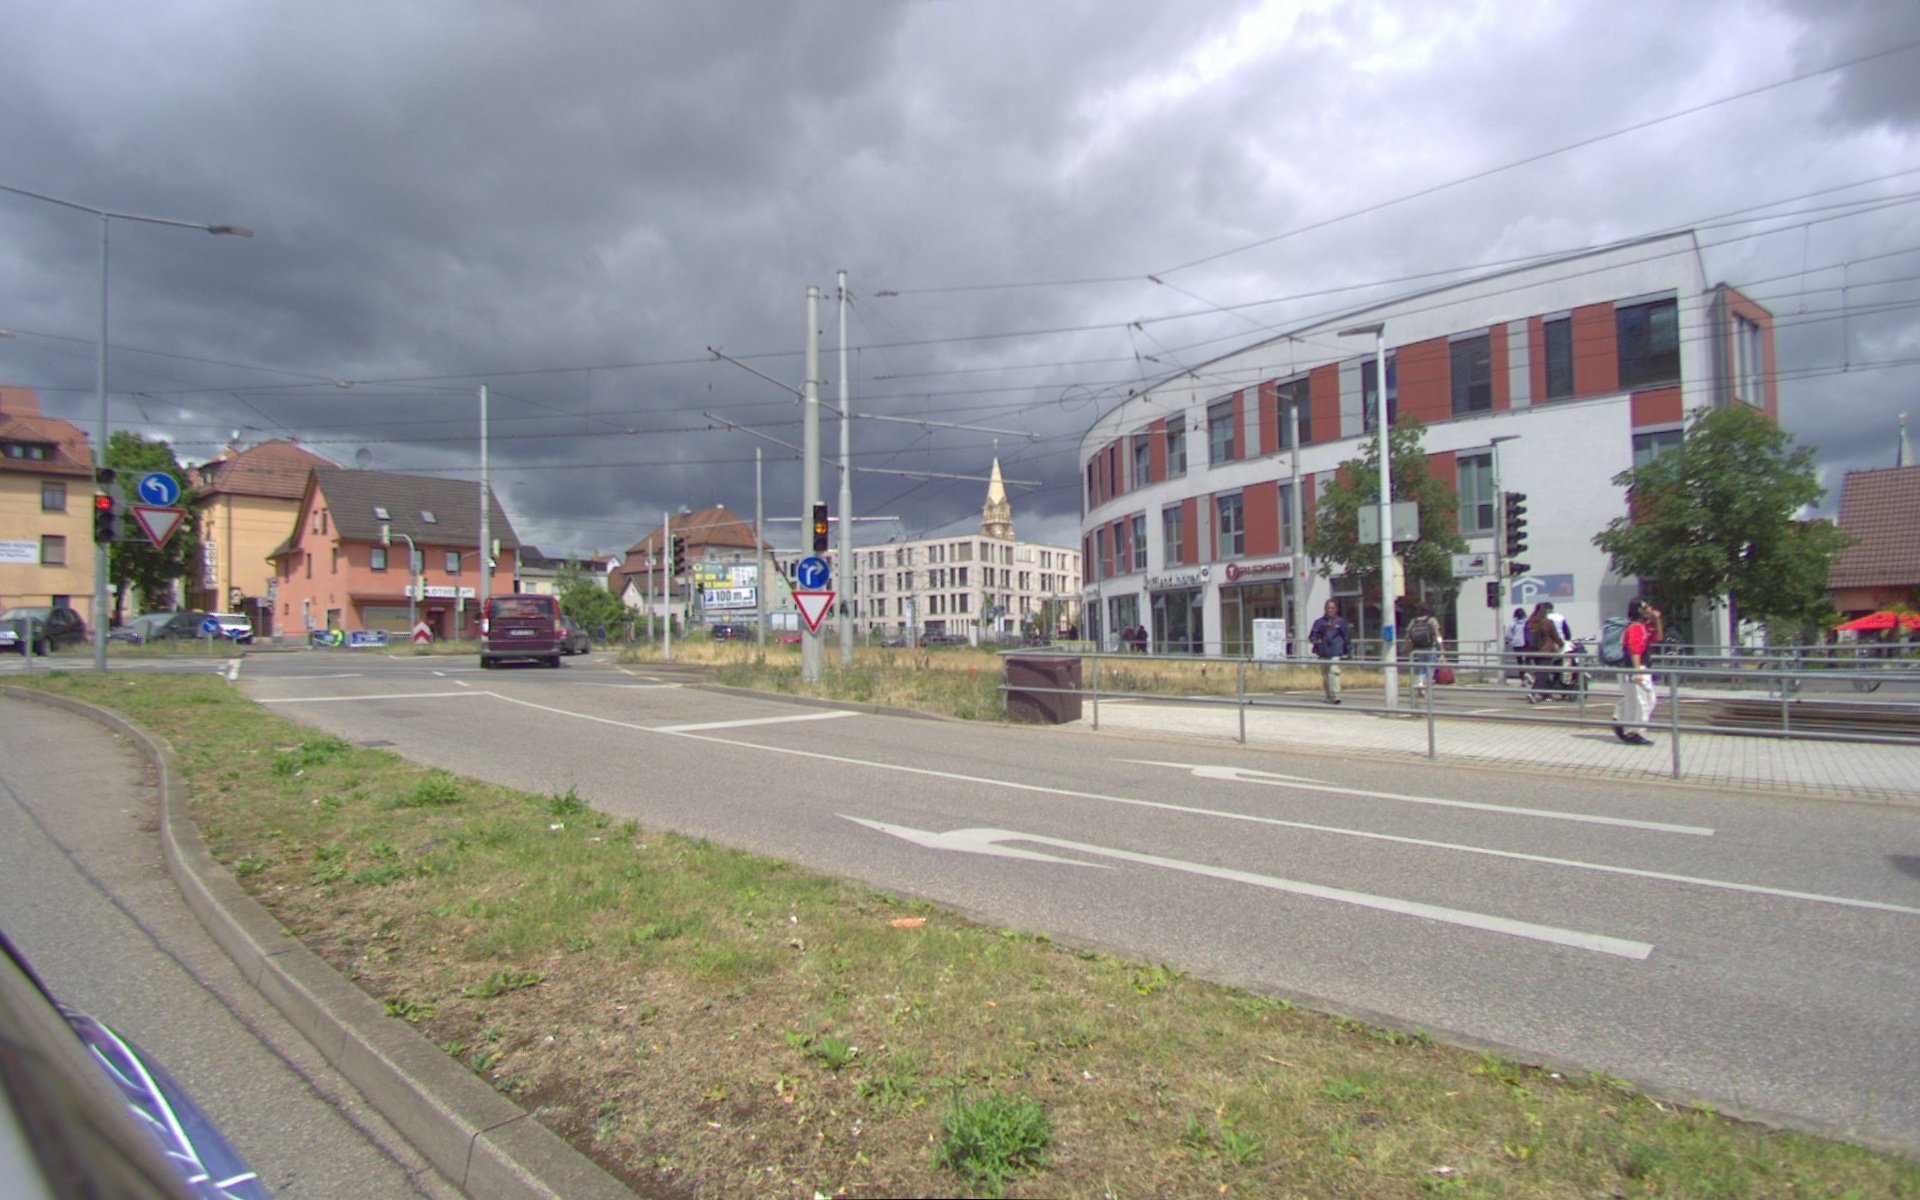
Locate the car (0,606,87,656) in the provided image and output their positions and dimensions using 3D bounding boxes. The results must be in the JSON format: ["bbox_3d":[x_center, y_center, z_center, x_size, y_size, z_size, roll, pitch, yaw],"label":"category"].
[{"bbox_3d":[-29.225,1.001,31.648,1.851,1.440,4.013,0,-3,-25],"label":"car"}]

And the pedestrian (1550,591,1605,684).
[{"bbox_3d":[12.601,0.771,20.660,0.772,1.836,0.896,-2,-3,43],"label":"pedestrian"}]

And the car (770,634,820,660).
[{"bbox_3d":[-13.380,3.812,82.142,1.990,2.029,3.962,-3,-3,27],"label":"car"}]

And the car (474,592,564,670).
[{"bbox_3d":[-11.684,0.763,26.639,1.965,1.836,5.089,1,-1,-26],"label":"car"}]

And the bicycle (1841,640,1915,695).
[{"bbox_3d":[17.998,1.299,19.827,1.874,1.037,0.696,2,-3,-36],"label":"bicycle"}]

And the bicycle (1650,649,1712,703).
[{"bbox_3d":[15.633,1.637,21.920,1.876,1.106,0.695,3,-4,-43],"label":"bicycle"}]

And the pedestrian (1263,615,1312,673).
[{"bbox_3d":[11.877,1.590,36.719,1.236,2.029,1.143,2,-3,-31],"label":"pedestrian"}]

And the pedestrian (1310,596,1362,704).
[{"bbox_3d":[5.854,0.759,15.755,0.667,1.616,0.827,1,-2,26],"label":"pedestrian"}]

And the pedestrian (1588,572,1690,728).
[{"bbox_3d":[7.143,0.502,10.636,0.833,1.552,0.792,-1,0,38],"label":"pedestrian"}]

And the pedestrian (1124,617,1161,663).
[{"bbox_3d":[8.296,1.816,46.074,1.235,2.029,1.143,2,-3,-27],"label":"pedestrian"}]

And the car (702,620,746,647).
[{"bbox_3d":[-14.494,2.035,62.370,1.785,1.592,4.298,1,-1,-2],"label":"car"}]

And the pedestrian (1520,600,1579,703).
[{"bbox_3d":[9.532,0.819,16.365,0.642,1.608,0.823,-1,-2,44],"label":"pedestrian"}]

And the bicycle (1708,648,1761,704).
[{"bbox_3d":[16.313,1.575,21.300,0.694,1.106,1.878,-1,-2,43],"label":"bicycle"}]

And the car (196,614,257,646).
[{"bbox_3d":[-46.203,1.906,63.704,4.659,1.912,2.053,-2,-2,40],"label":"car"}]

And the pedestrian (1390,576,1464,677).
[{"bbox_3d":[7.872,0.452,17.048,0.920,1.649,0.852,-1,-3,43],"label":"pedestrian"}]

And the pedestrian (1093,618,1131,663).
[{"bbox_3d":[6.872,1.836,45.717,1.235,2.029,1.143,2,-3,-27],"label":"pedestrian"}]

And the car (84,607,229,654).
[{"bbox_3d":[-30.646,1.209,38.798,1.973,1.662,4.416,-2,-3,2],"label":"car"}]

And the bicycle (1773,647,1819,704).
[{"bbox_3d":[17.120,1.519,20.717,0.694,1.071,1.879,-1,-2,40],"label":"bicycle"}]

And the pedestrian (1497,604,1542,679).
[{"bbox_3d":[13.359,0.977,24.175,0.828,1.748,0.666,0,-2,19],"label":"pedestrian"}]

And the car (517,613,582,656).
[{"bbox_3d":[-14.757,1.208,36.570,1.772,1.421,5.068,1,-1,-18],"label":"car"}]
